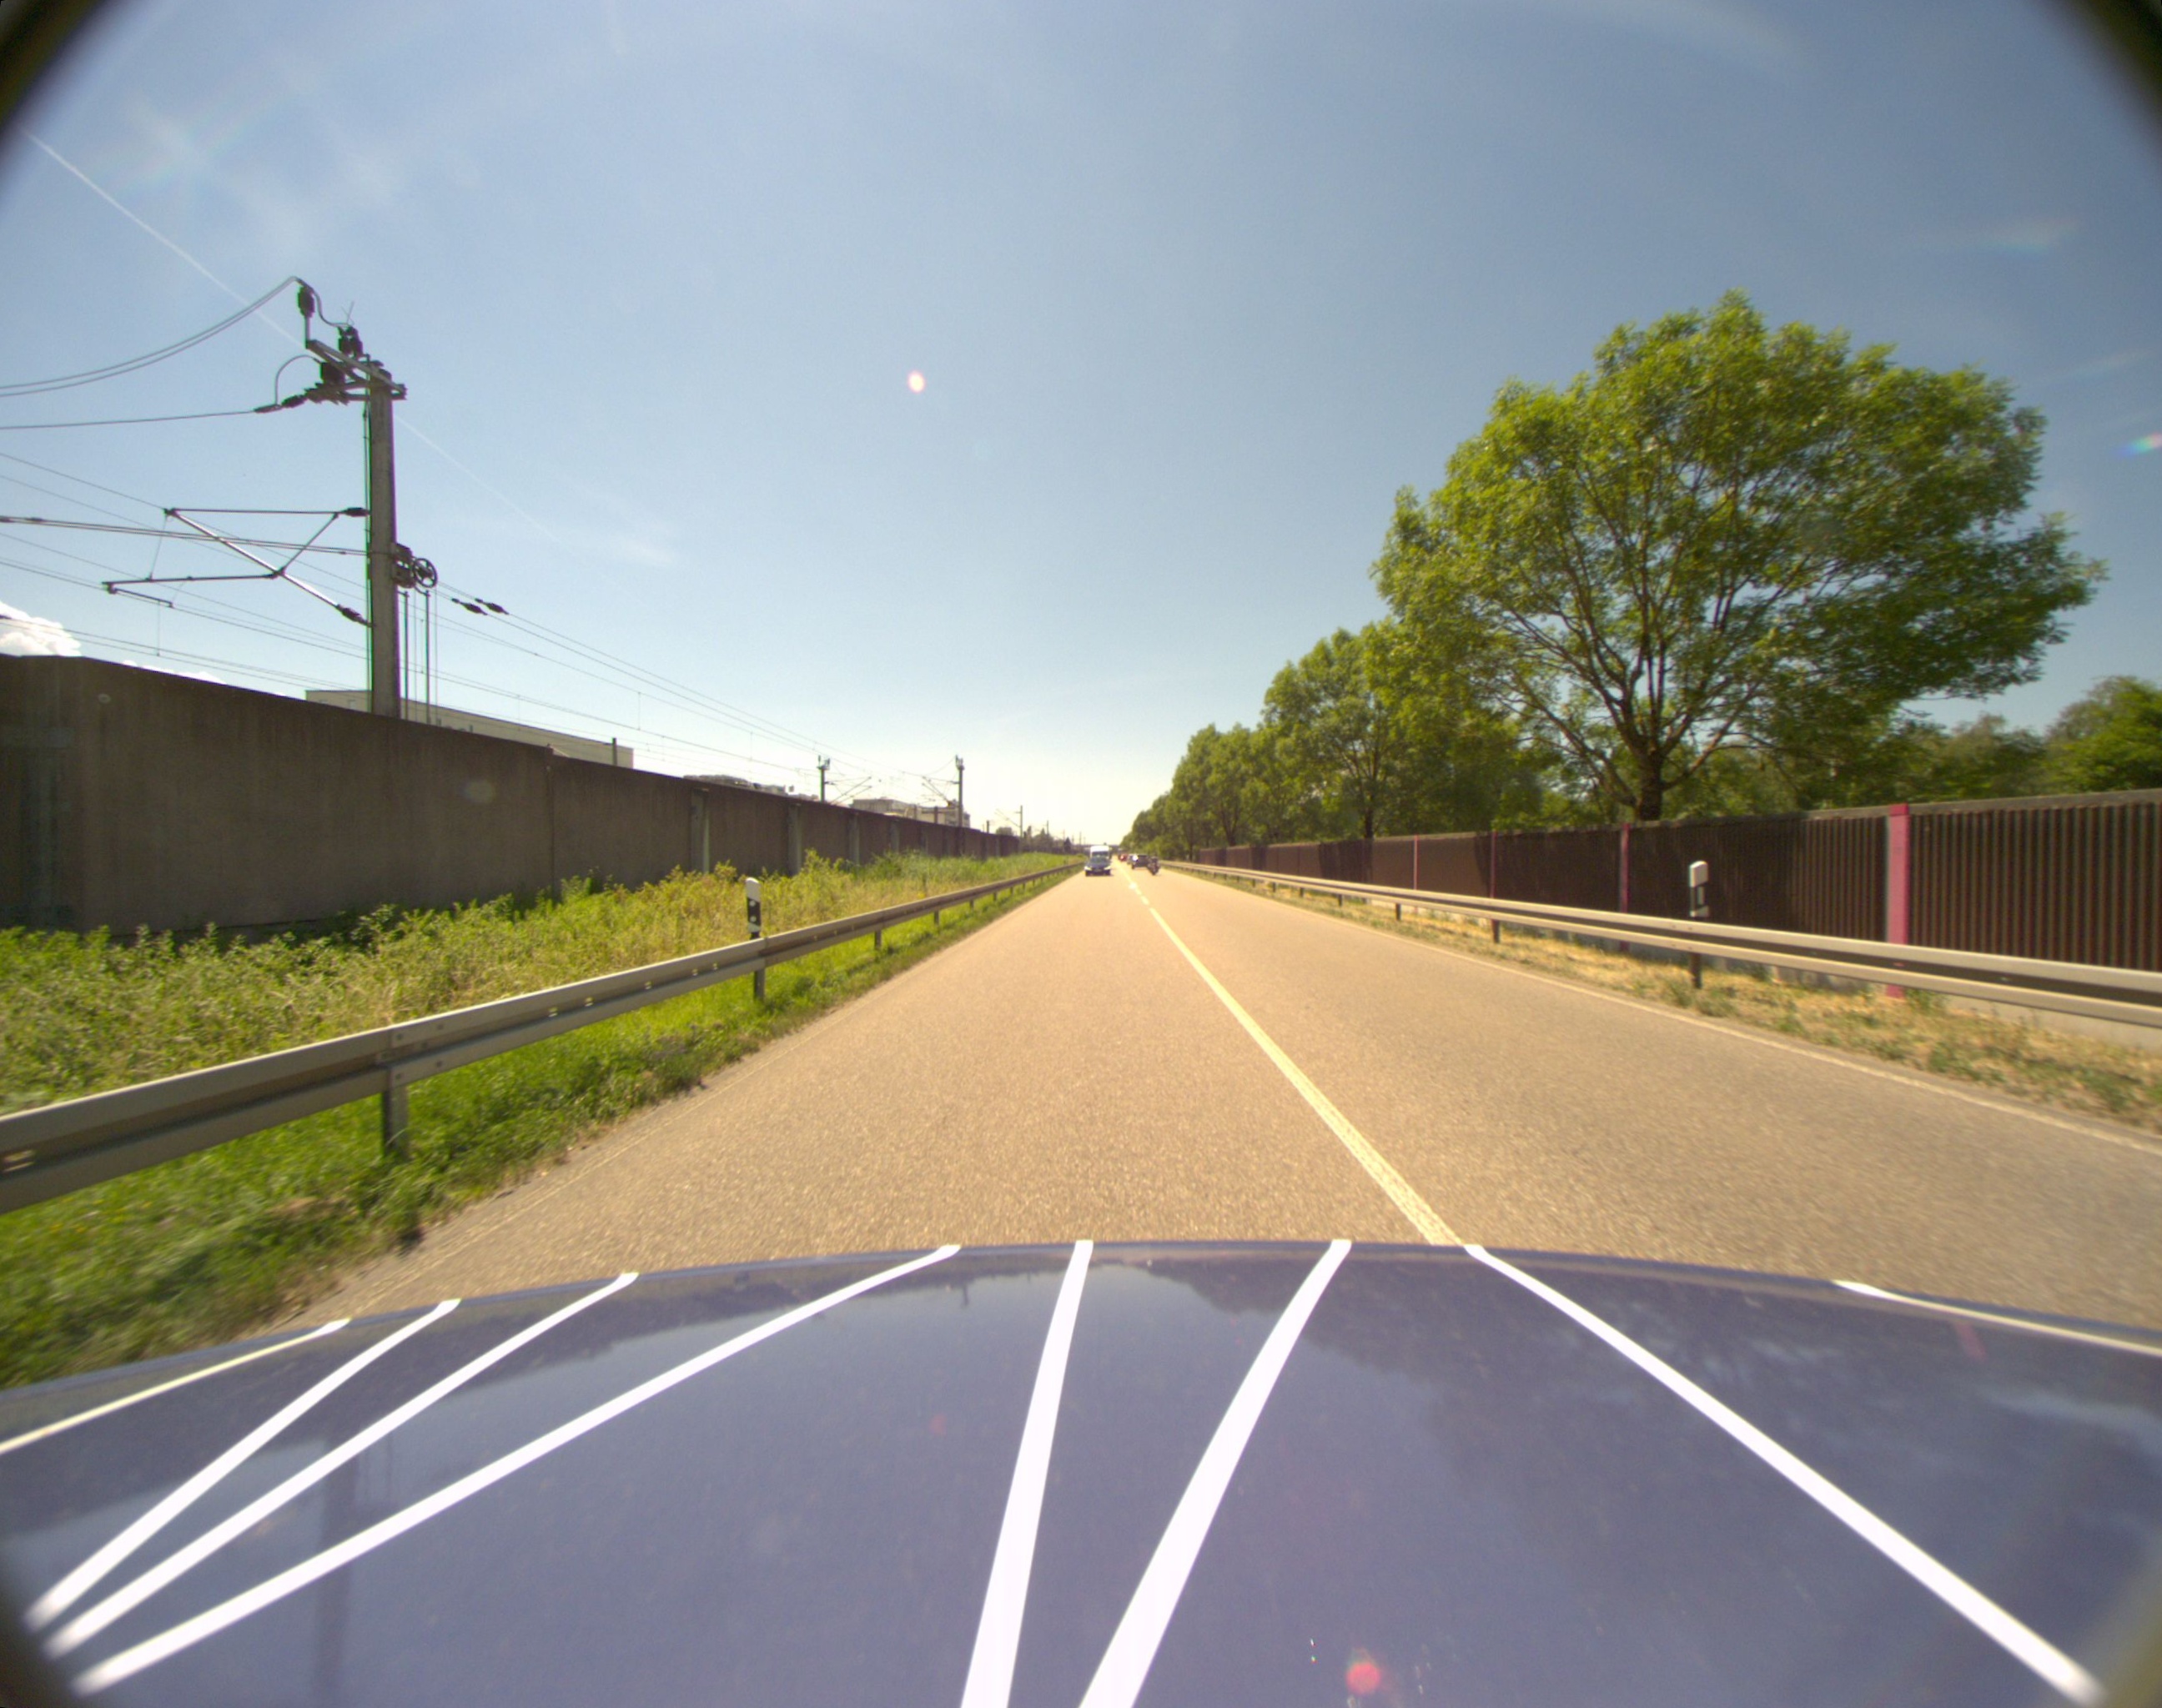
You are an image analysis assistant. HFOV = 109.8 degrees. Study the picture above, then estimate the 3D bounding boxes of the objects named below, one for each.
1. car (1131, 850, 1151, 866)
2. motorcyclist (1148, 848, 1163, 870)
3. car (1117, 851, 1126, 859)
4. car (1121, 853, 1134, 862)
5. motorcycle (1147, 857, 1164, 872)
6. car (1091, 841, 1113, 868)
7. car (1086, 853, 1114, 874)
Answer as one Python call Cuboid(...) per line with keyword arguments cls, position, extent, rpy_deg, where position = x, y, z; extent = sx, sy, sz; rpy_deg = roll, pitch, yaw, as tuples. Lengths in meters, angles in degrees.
Cuboid(cls="car", position=(6.069, 0.389, 76.729), extent=(1.757, 1.499, 4.529), rpy_deg=(-2, 0, 2))
Cuboid(cls="motorcyclist", position=(5.255, 0.344, 53.682), extent=(0.951, 1.536, 1.214), rpy_deg=(-2, 1, 1))
Cuboid(cls="car", position=(7.953, 0.179, 148.354), extent=(1.757, 1.308, 4.529), rpy_deg=(-2, 0, 3))
Cuboid(cls="car", position=(6.833, 0.527, 111.570), extent=(1.757, 1.225, 4.529), rpy_deg=(-2, 0, 2))
Cuboid(cls="motorcycle", position=(5.262, 0.738, 53.739), extent=(0.951, 1.023, 2.385), rpy_deg=(-2, 0, 1))
Cuboid(cls="car", position=(2.248, 0.033, 80.733), extent=(2.193, 2.589, 6.751), rpy_deg=(-2, 0, 2))
Cuboid(cls="car", position=(1.421, 0.670, 55.529), extent=(1.861, 1.371, 4.504), rpy_deg=(-2, 0, 3))
